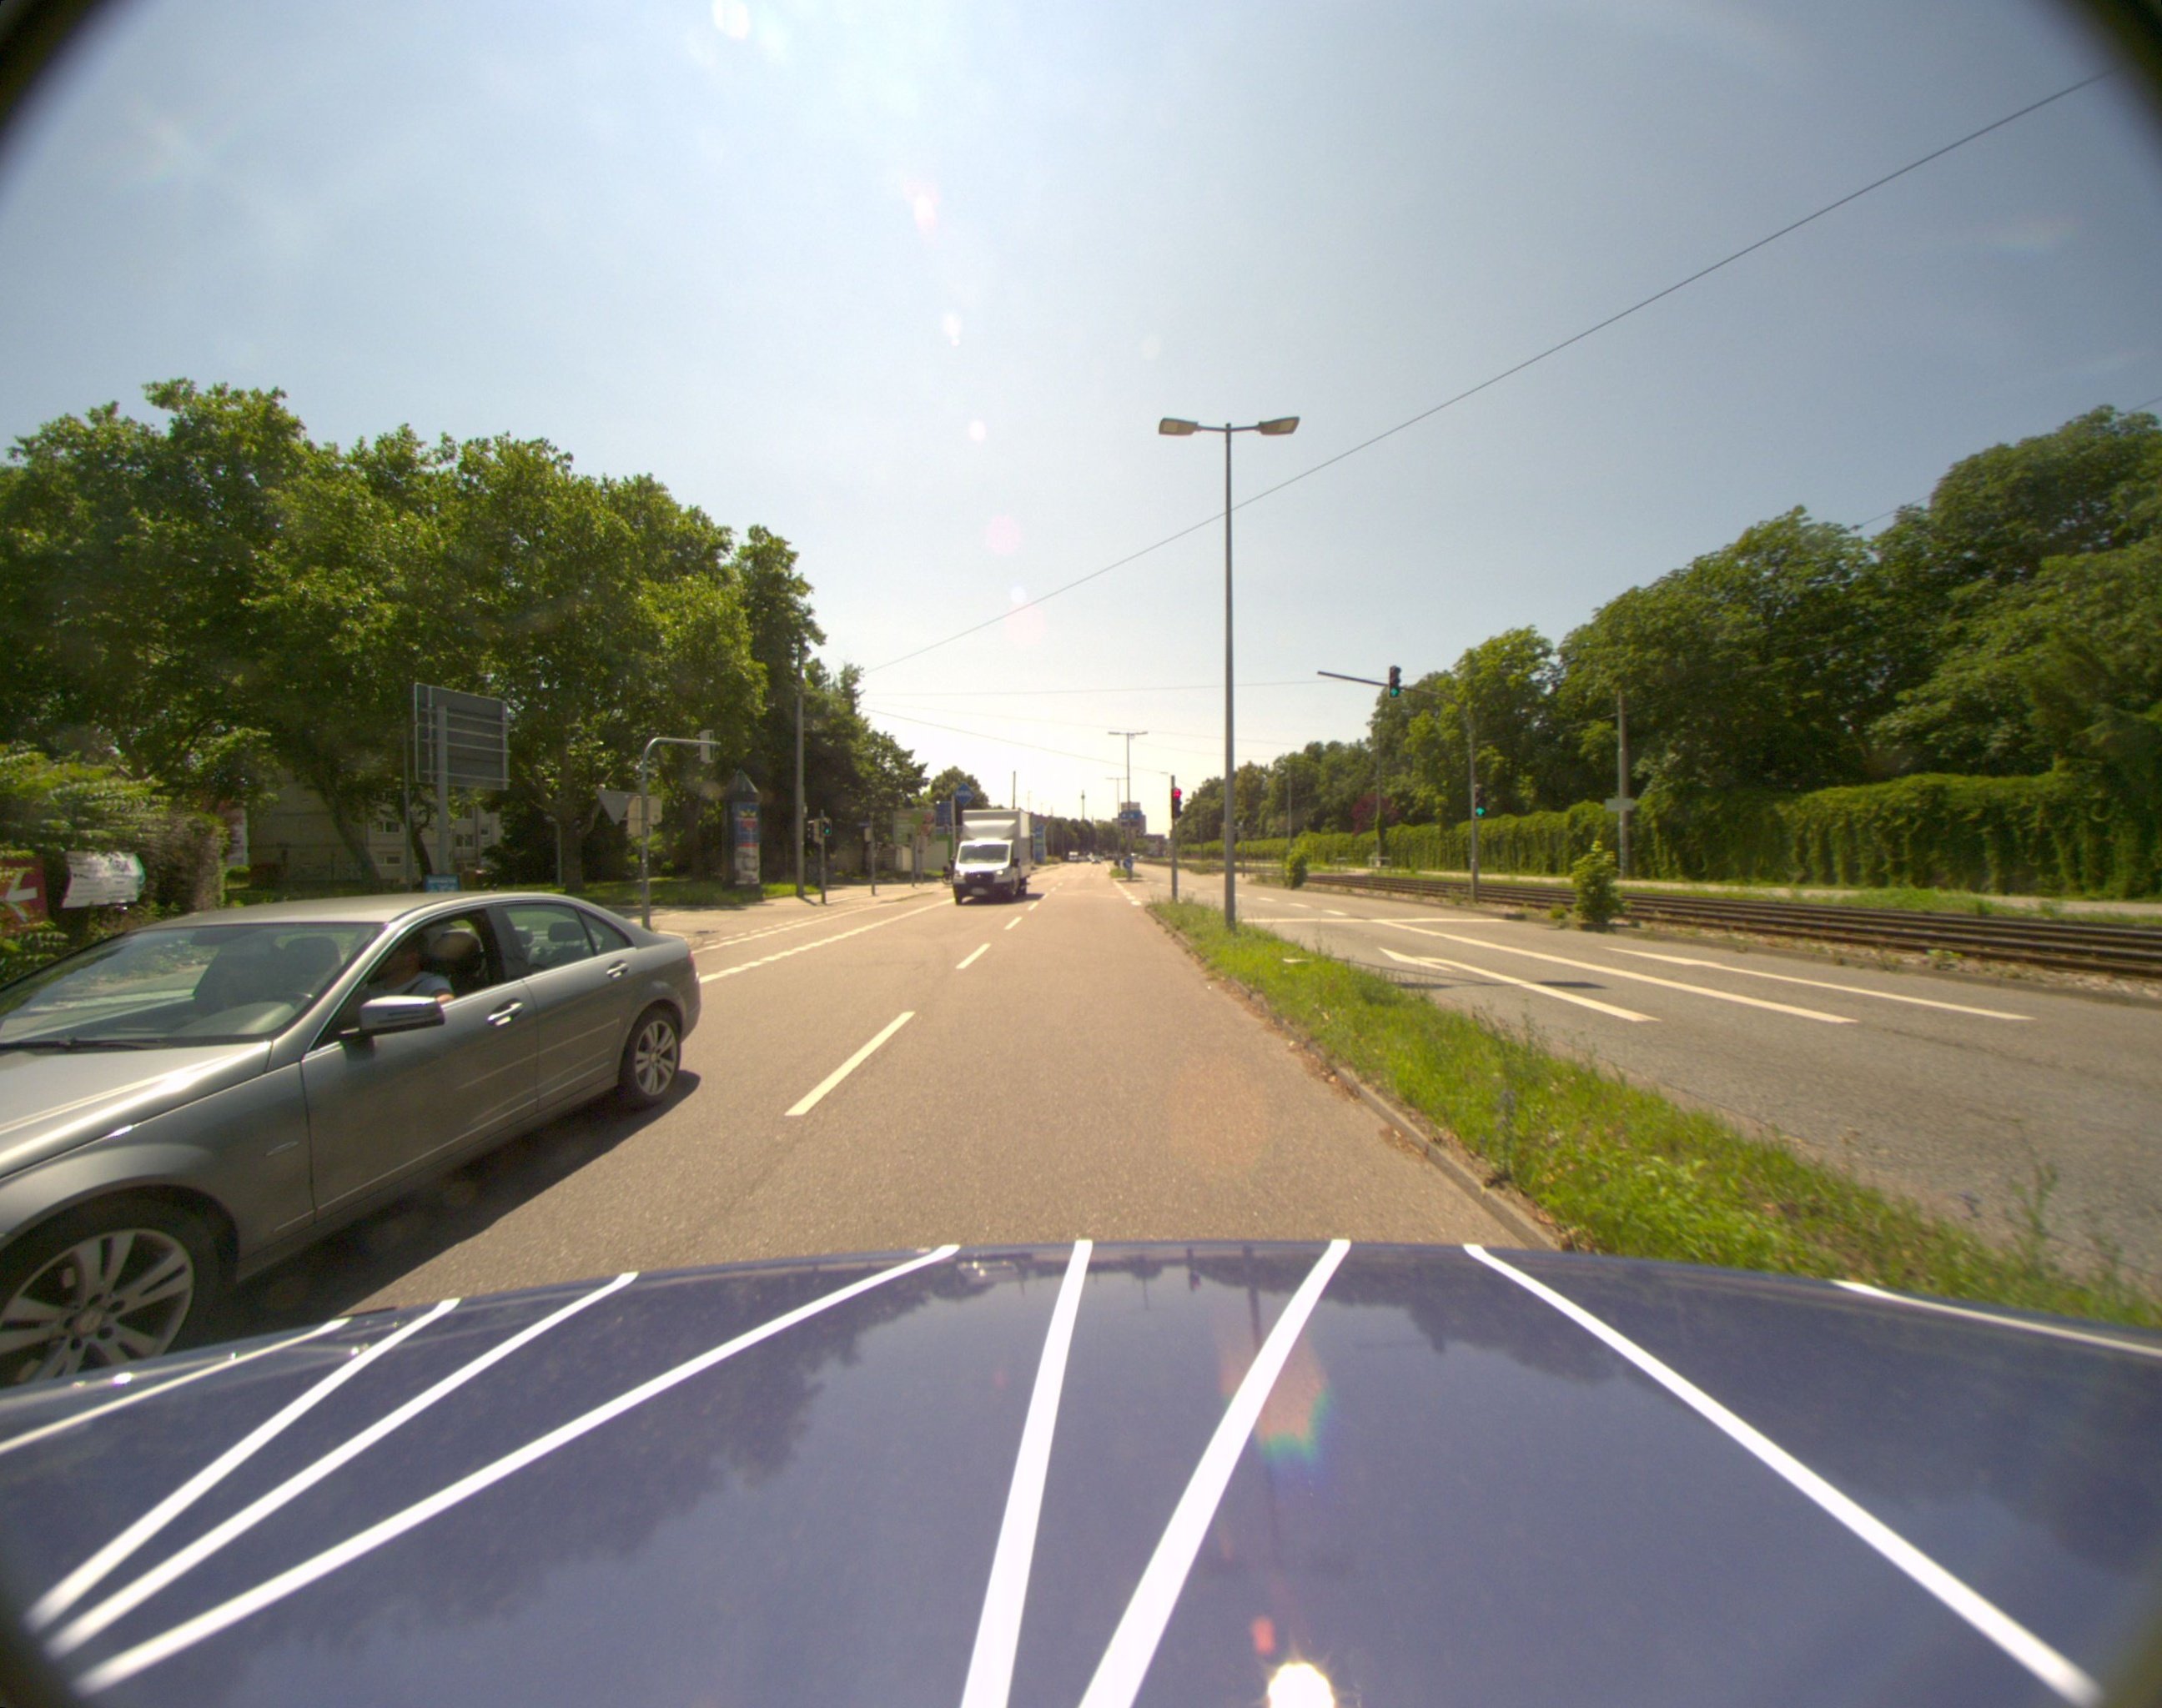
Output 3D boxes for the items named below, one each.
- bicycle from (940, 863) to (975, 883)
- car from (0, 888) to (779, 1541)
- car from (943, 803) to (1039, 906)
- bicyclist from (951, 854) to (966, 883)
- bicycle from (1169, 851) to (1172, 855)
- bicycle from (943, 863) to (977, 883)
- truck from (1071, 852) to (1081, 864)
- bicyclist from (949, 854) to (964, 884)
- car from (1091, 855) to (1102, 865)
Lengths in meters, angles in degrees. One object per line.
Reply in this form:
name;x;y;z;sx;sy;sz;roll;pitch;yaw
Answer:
bicycle;-7.519;1.154;46.277;1.955;1.152;0.894;-1;1;-4
car;-3.574;1.057;3.952;1.717;1.464;5.302;-3;0;1
car;-3.210;0.026;29.312;2.229;3.316;8.637;-2;0;2
bicyclist;-7.655;0.909;47.509;0.578;1.777;0.768;-3;1;9
bicycle;23.384;-0.318;198.320;0.617;1.049;1.978;-3;1;3
bicycle;-7.587;1.191;47.552;1.870;1.118;0.895;-2;1;9
truck;-1.051;0.948;175.698;1.998;2.462;5.237;-3;1;2
bicyclist;-7.582;0.882;46.246;0.726;1.777;0.976;-2;1;-4
car;2.942;1.181;145.754;1.947;1.674;3.999;-3;1;0
